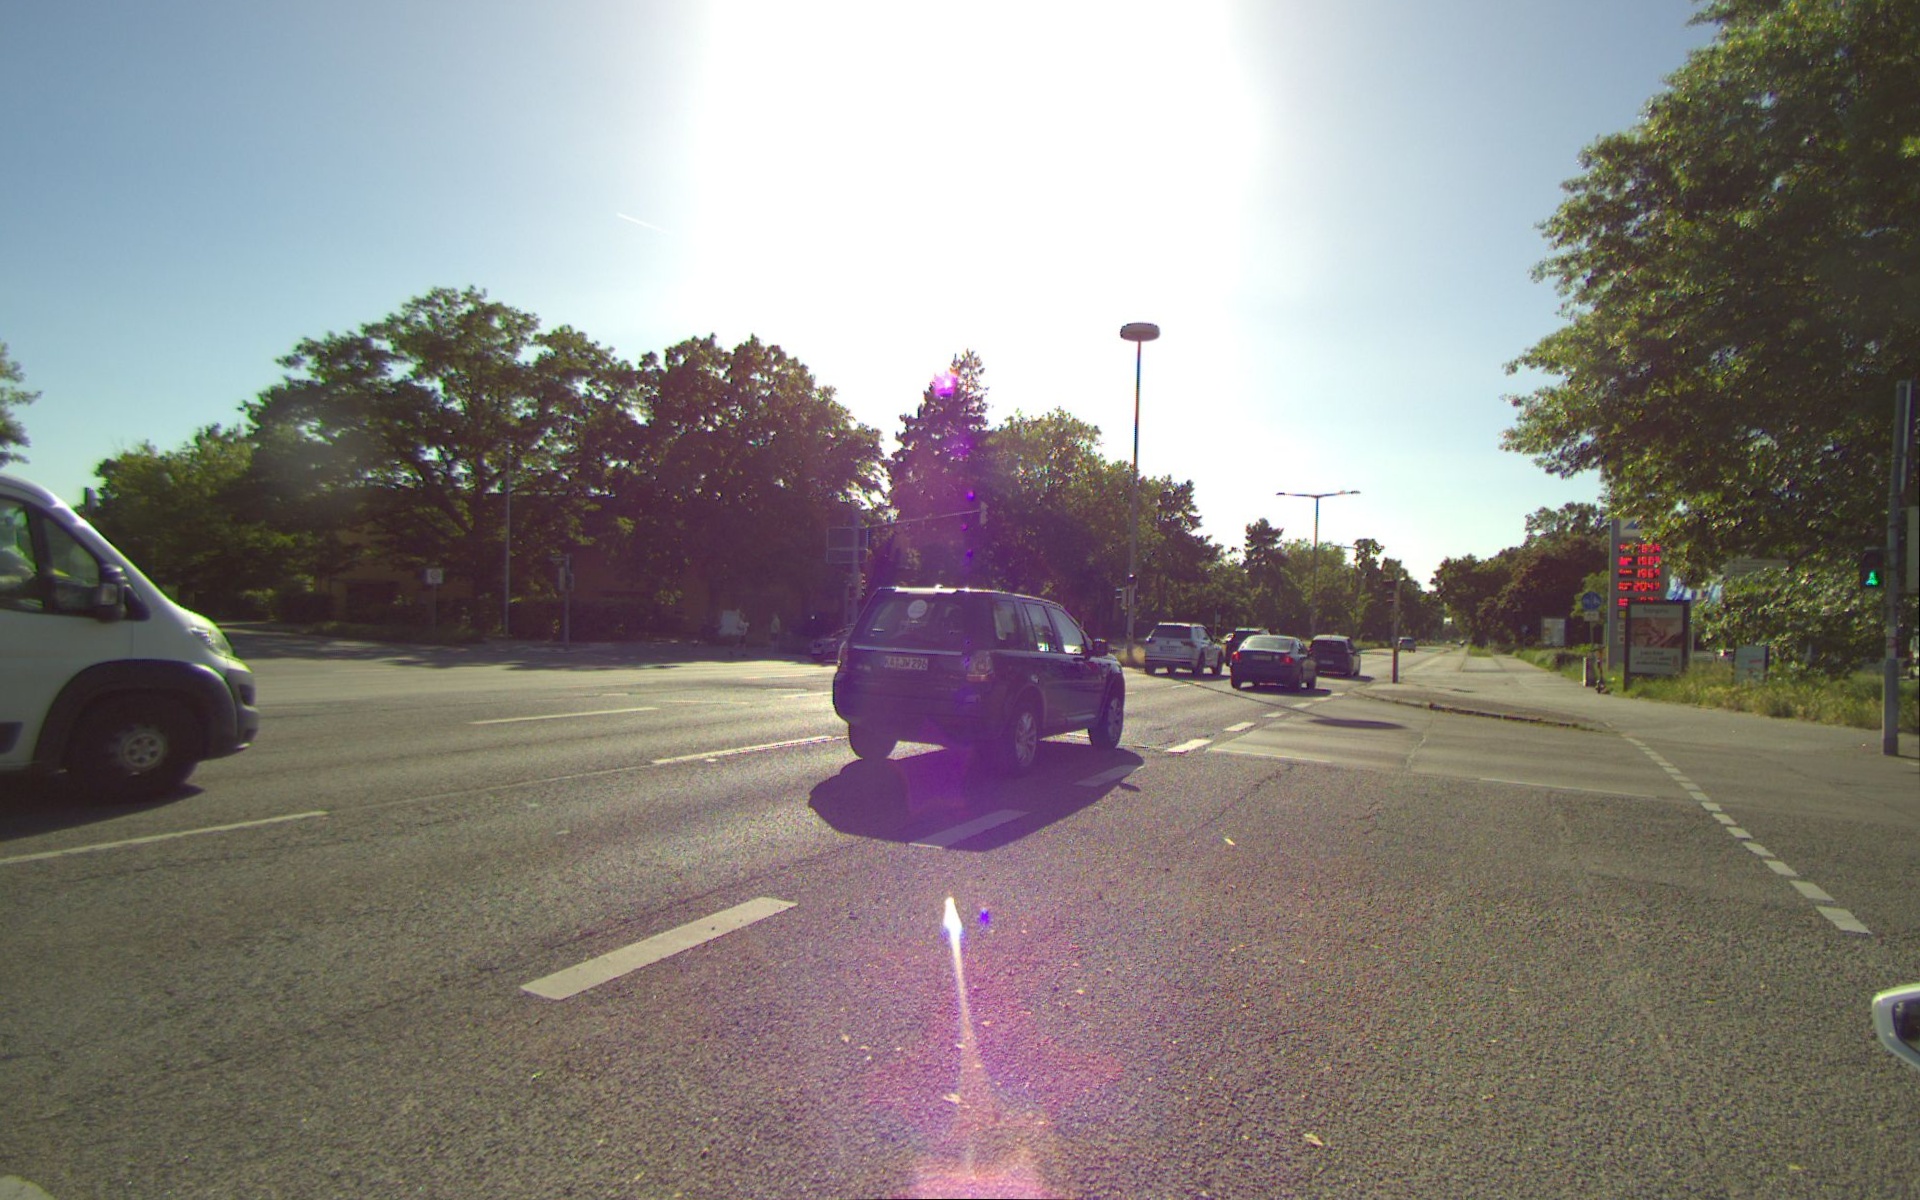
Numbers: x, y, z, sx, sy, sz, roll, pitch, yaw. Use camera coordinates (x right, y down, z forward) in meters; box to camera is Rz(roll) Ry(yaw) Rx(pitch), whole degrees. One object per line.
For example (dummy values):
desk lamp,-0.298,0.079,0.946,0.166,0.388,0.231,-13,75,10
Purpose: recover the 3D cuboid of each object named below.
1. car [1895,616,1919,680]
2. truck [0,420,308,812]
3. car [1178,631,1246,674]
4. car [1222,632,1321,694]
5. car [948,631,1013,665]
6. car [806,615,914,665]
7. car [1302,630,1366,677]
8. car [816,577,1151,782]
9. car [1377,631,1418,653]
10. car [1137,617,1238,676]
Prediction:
car,34.979,1.800,33.182,5.551,2.126,1.997,4,-1,29
truck,-7.430,0.017,5.037,2.151,2.340,6.767,1,-2,27
car,11.125,2.283,44.104,1.881,1.674,4.360,4,-1,27
car,8.533,1.667,27.267,1.808,1.413,4.361,4,-1,26
car,1.011,2.251,47.175,1.525,1.451,3.593,2,-2,28
car,-3.747,1.539,38.207,1.778,1.674,4.093,4,-1,35
car,14.741,2.081,39.444,1.808,1.609,4.360,2,-1,27
car,0.504,0.761,10.915,1.794,1.706,4.386,2,-1,28
car,46.790,4.468,107.579,1.966,2.040,3.990,4,-1,-12
car,7.561,1.528,33.036,1.915,1.674,4.357,4,-1,31
